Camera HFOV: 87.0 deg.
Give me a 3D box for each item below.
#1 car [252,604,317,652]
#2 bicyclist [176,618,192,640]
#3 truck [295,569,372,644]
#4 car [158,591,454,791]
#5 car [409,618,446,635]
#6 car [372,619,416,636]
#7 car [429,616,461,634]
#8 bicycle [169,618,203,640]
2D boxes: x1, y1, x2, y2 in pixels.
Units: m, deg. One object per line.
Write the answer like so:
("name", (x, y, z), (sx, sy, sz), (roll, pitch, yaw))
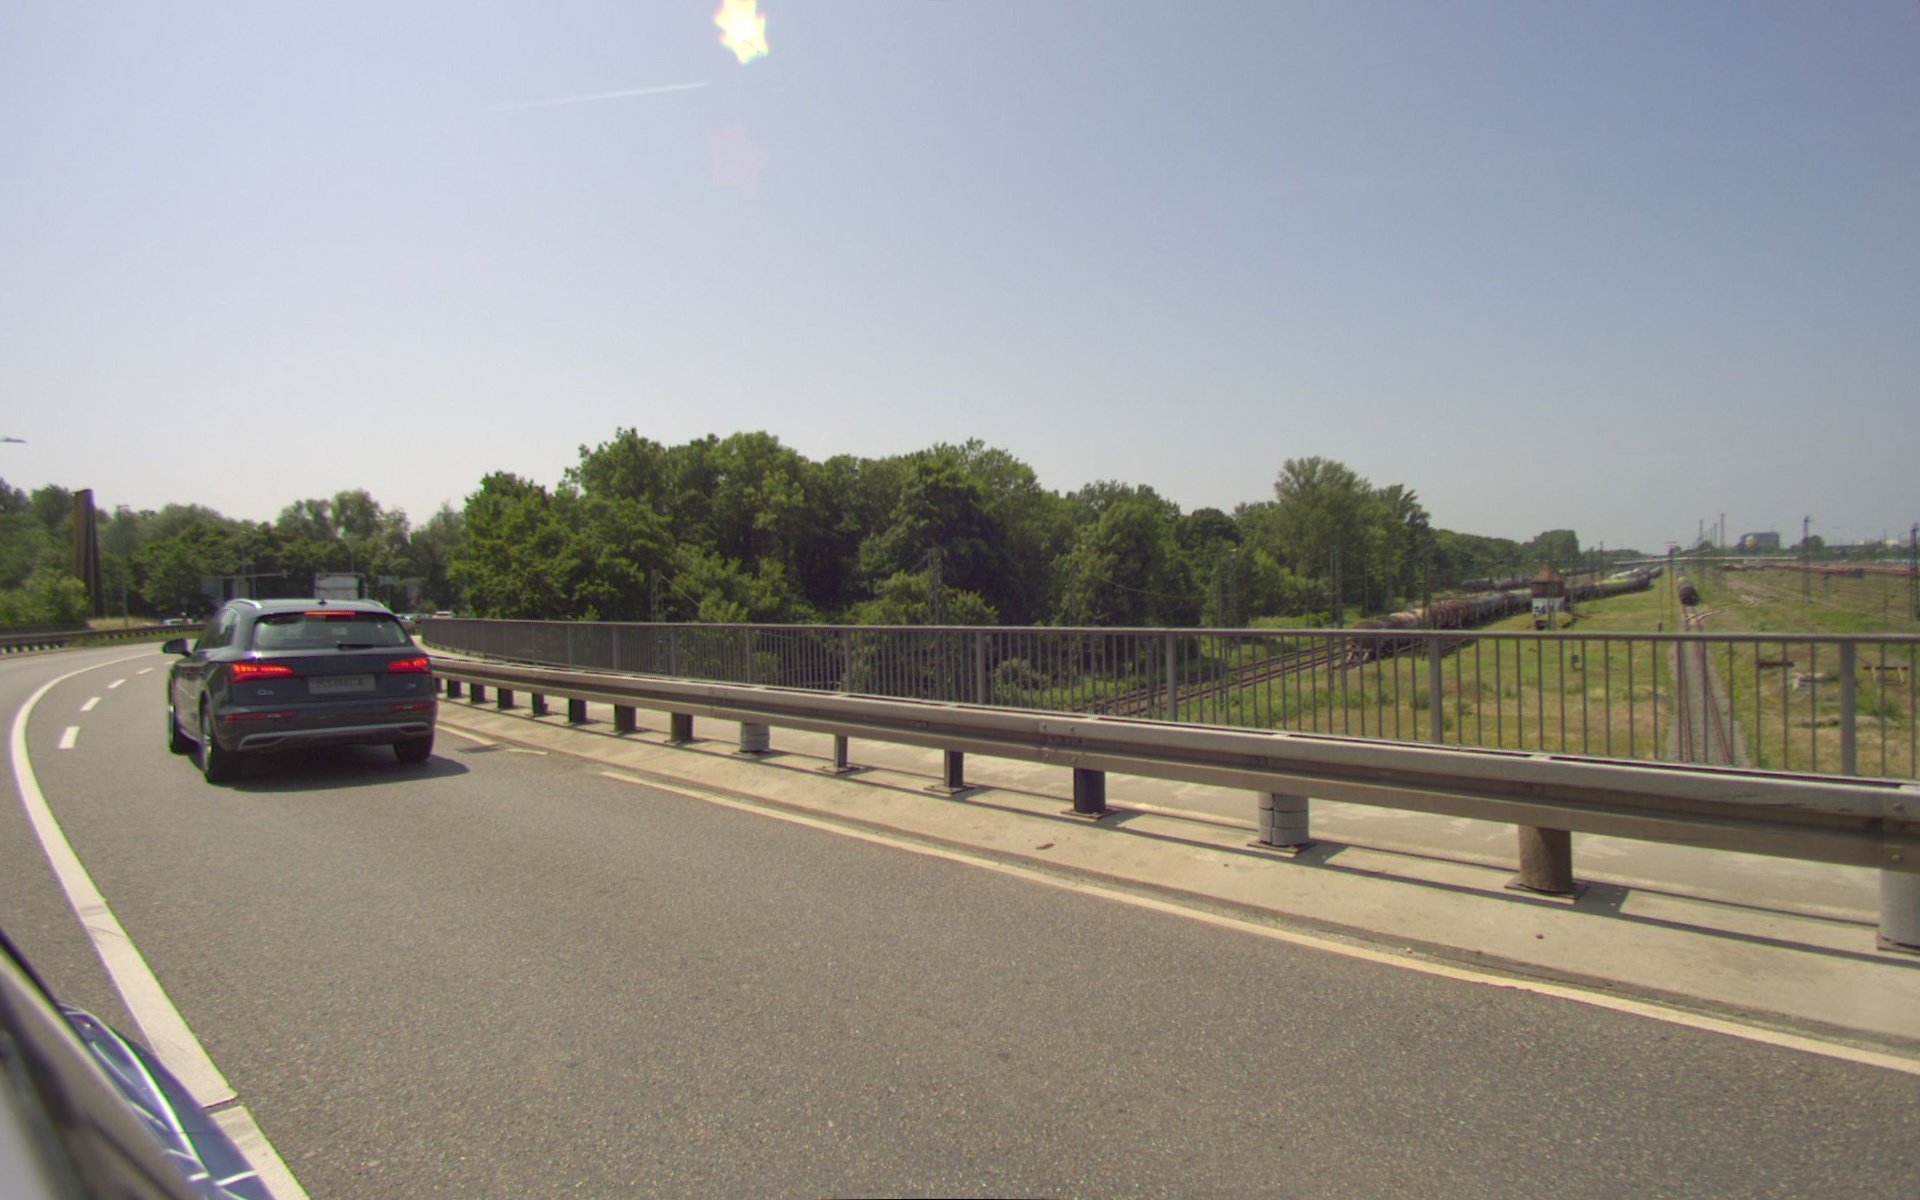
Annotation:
("car", (-30.459, 1.246, 45.778), (1.835, 2.015, 4.829), (0, -1, -26))
("bicyclist", (-57.727, 2.163, 75.292), (0.684, 1.611, 0.668), (-2, -1, 12))
("truck", (-35.518, 0.424, 57.569), (2.667, 4.022, 6.206), (1, -2, -22))
("car", (-6.913, 0.811, 10.496), (1.820, 1.648, 4.236), (1, -2, -44))
("car", (-48.257, 2.383, 91.732), (1.803, 1.417, 4.557), (0, -1, -12))
("car", (-47.449, 2.285, 84.944), (1.803, 1.417, 4.899), (0, -1, -12))
("car", (-49.846, 2.431, 98.075), (1.803, 1.651, 4.591), (0, -1, -14))
("bicycle", (-57.558, 2.132, 75.244), (2.350, 1.586, 0.654), (-2, -1, 13))
